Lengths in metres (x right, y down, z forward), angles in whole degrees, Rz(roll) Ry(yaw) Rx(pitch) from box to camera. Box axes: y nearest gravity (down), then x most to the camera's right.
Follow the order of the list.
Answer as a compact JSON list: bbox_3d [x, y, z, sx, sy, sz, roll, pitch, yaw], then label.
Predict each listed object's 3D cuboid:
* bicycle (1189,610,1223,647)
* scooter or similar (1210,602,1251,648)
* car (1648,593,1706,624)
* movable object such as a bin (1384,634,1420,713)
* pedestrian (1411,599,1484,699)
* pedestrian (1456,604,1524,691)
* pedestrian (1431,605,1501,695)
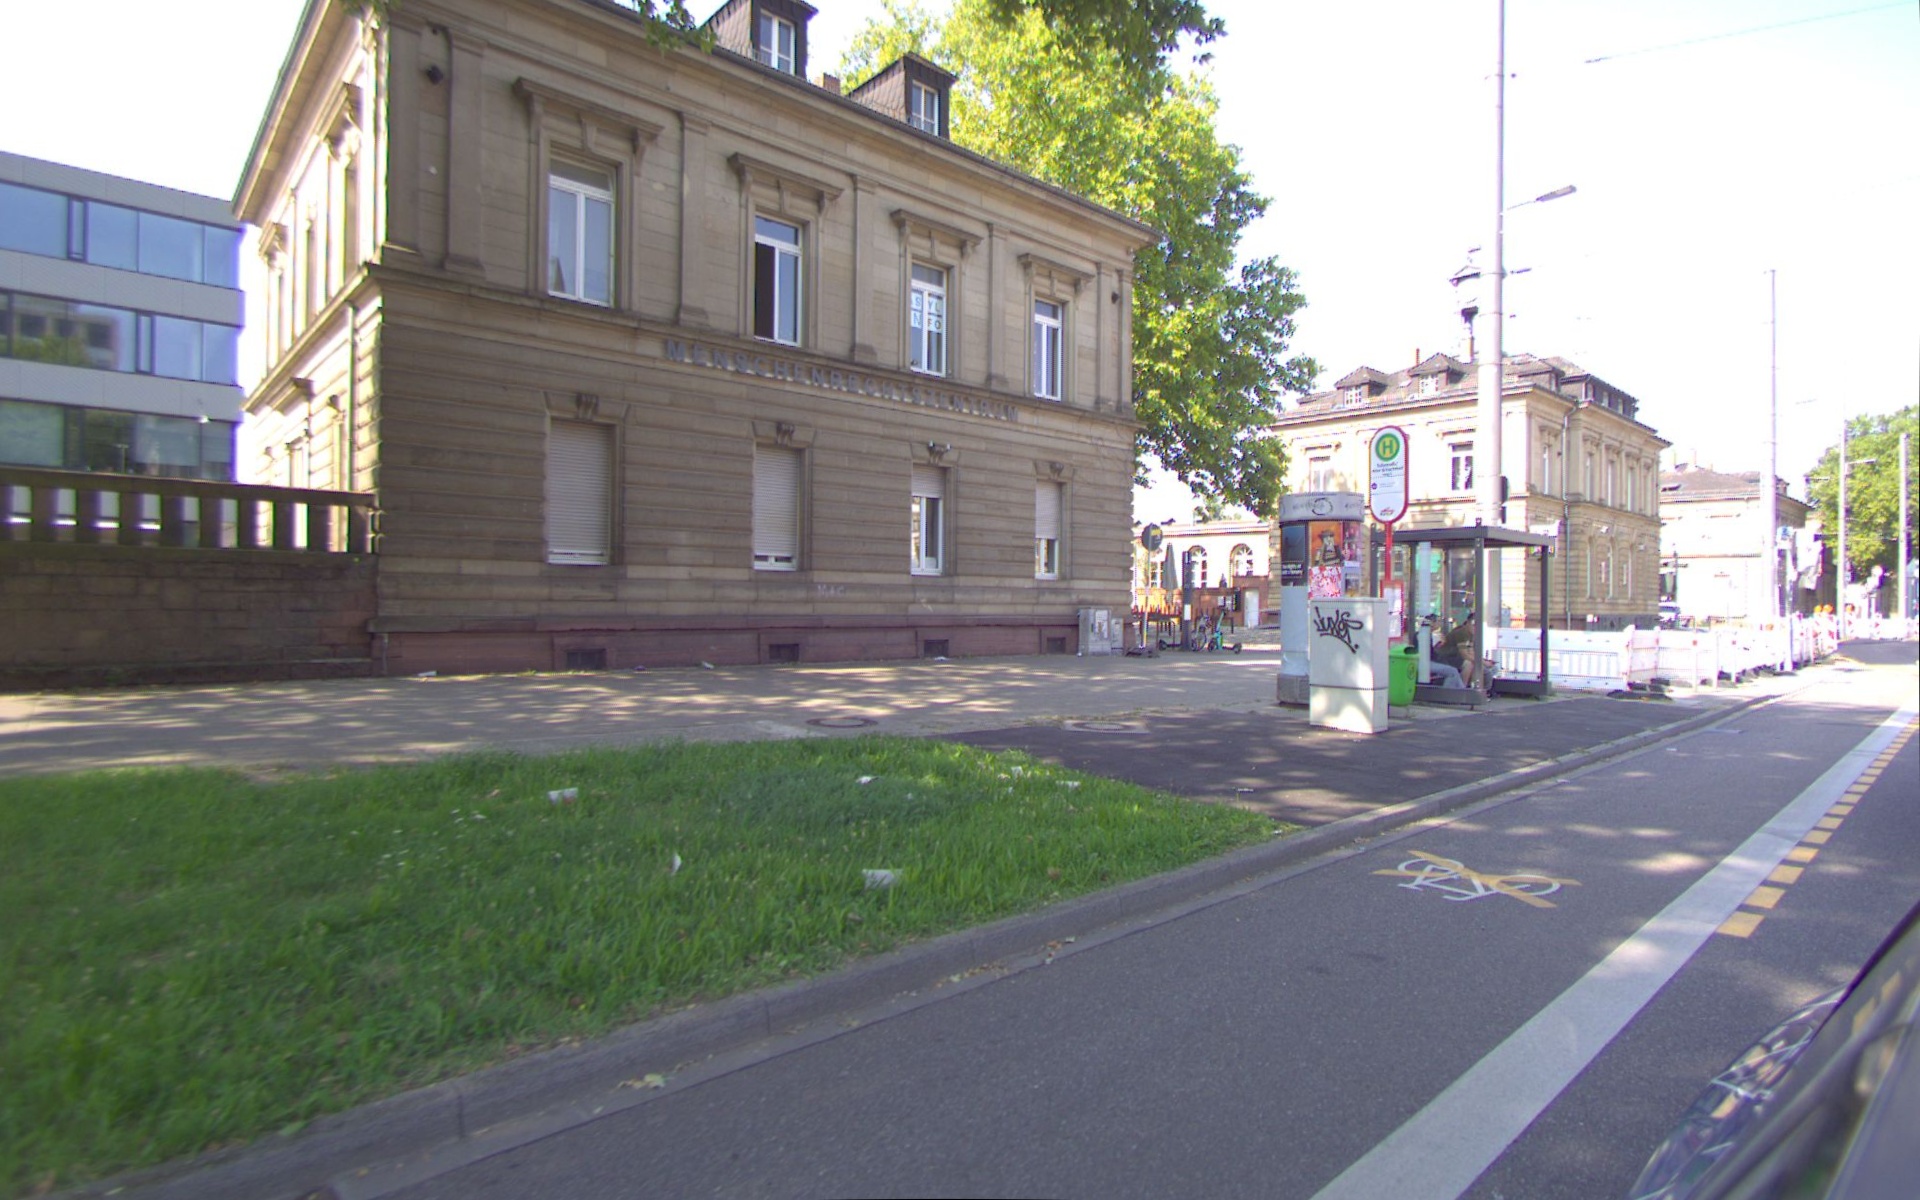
[{"bbox_3d":[7.150,0.837,29.372,0.488,1.012,1.799,1,-2,29],"label":"bicycle"},{"bbox_3d":[7.429,0.687,27.795,1.151,1.244,0.427,1,0,-35],"label":"scooter or similar"},{"bbox_3d":[49.890,0.625,70.421,4.143,1.805,1.910,5,-2,-34],"label":"car"},{"bbox_3d":[5.391,0.885,12.331,0.379,0.927,0.271,1,0,-44],"label":"movable object such as a bin"},{"bbox_3d":[6.984,0.677,14.497,0.601,1.383,0.751,0,-1,-42],"label":"pedestrian"},{"bbox_3d":[8.057,0.703,15.386,0.601,1.277,0.742,0,-1,-42],"label":"pedestrian"},{"bbox_3d":[7.468,0.712,14.942,0.601,1.277,0.742,0,-1,-42],"label":"pedestrian"}]
